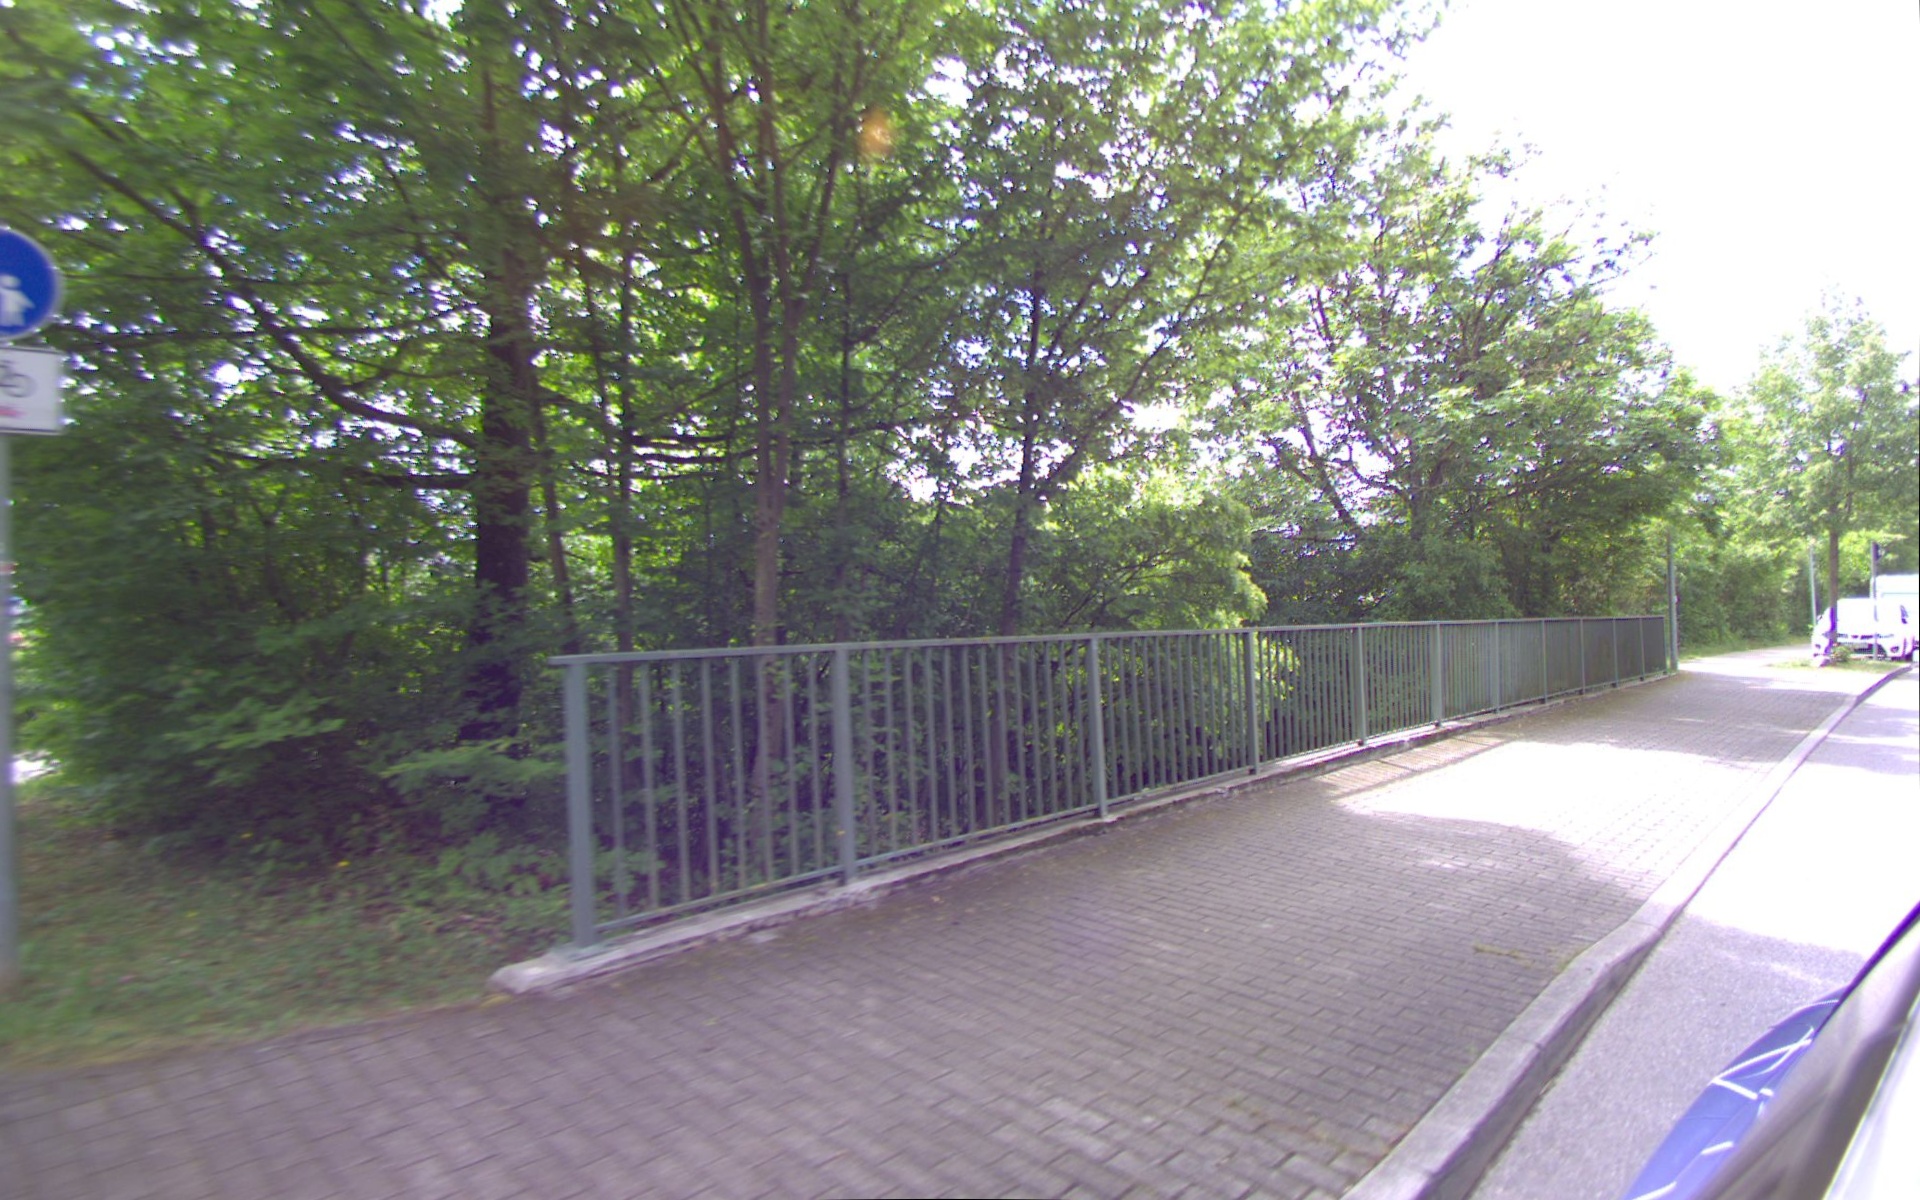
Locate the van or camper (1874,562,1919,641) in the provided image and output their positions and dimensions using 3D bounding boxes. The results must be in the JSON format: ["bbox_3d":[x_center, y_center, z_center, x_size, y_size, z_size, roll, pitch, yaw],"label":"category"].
[{"bbox_3d":[33.511,0.042,34.883,4.986,2.585,2.359,0,1,-41],"label":"van or camper"}]

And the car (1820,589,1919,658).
[{"bbox_3d":[23.909,0.557,26.357,4.297,1.620,1.807,0,1,-43],"label":"car"}]
